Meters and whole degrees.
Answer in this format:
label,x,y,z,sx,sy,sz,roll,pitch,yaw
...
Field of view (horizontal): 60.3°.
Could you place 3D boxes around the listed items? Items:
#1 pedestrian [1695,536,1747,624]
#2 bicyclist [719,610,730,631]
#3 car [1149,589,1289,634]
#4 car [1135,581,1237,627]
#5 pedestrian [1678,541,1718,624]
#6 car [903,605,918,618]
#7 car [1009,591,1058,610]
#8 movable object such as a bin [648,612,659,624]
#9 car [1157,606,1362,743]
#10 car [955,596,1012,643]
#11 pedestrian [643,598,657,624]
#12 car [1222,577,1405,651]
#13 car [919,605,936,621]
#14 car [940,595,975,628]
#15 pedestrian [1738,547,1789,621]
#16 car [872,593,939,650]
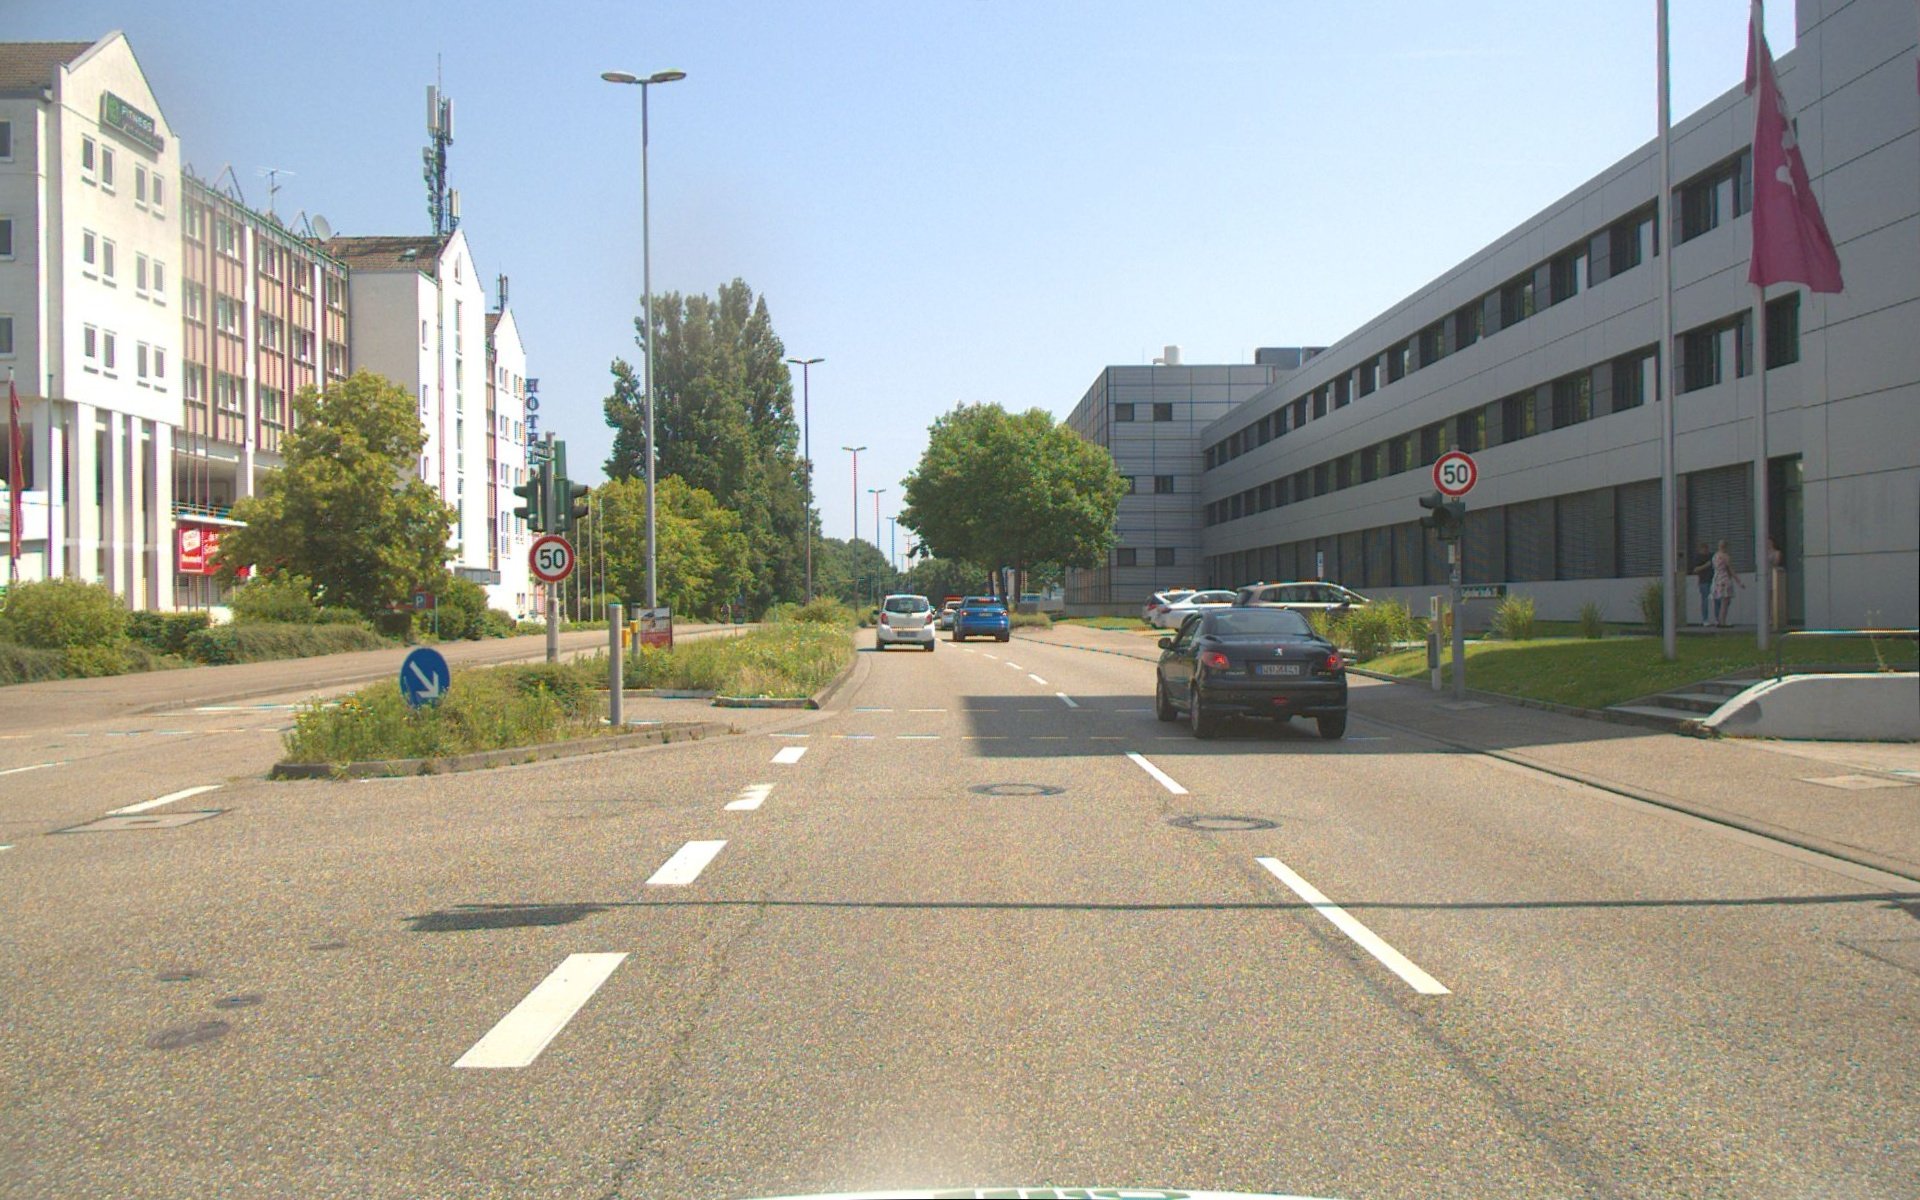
label,x,y,z,sx,sy,sz,roll,pitch,yaw
pedestrian,14.985,-0.391,32.592,0.513,1.692,0.753,-2,0,-18
bicyclist,-17.194,1.502,120.643,0.703,1.542,1.026,-2,-1,-4
car,9.119,0.384,58.376,4.523,1.414,1.998,-2,0,-5
car,9.187,0.172,67.260,3.739,1.619,1.730,-4,0,-5
pedestrian,15.141,-0.351,33.931,0.580,1.663,0.524,-2,0,7
car,-6.775,1.627,227.094,1.784,1.691,3.996,-1,0,-5
car,6.843,0.046,155.160,4.408,1.610,1.999,-2,-1,-2
movable object such as a bin,-18.273,1.067,98.523,0.419,0.718,0.652,-2,-1,7
car,3.308,0.771,18.855,1.594,1.388,3.604,0,0,-2
car,0.801,0.666,58.588,1.791,1.608,3.603,-1,0,-3
pedestrian,-18.551,0.664,98.989,0.620,1.572,0.727,-2,-1,-1
car,9.072,0.354,42.617,4.176,1.718,1.998,-2,0,-5
car,-3.630,1.429,183.917,1.783,1.691,3.999,-1,0,-2
car,-0.113,0.551,80.703,1.527,1.546,3.606,-1,0,2
pedestrian,16.032,-0.313,32.998,0.512,1.430,0.797,-2,0,-11
car,-1.512,0.585,47.008,1.712,1.546,3.746,0,0,1
